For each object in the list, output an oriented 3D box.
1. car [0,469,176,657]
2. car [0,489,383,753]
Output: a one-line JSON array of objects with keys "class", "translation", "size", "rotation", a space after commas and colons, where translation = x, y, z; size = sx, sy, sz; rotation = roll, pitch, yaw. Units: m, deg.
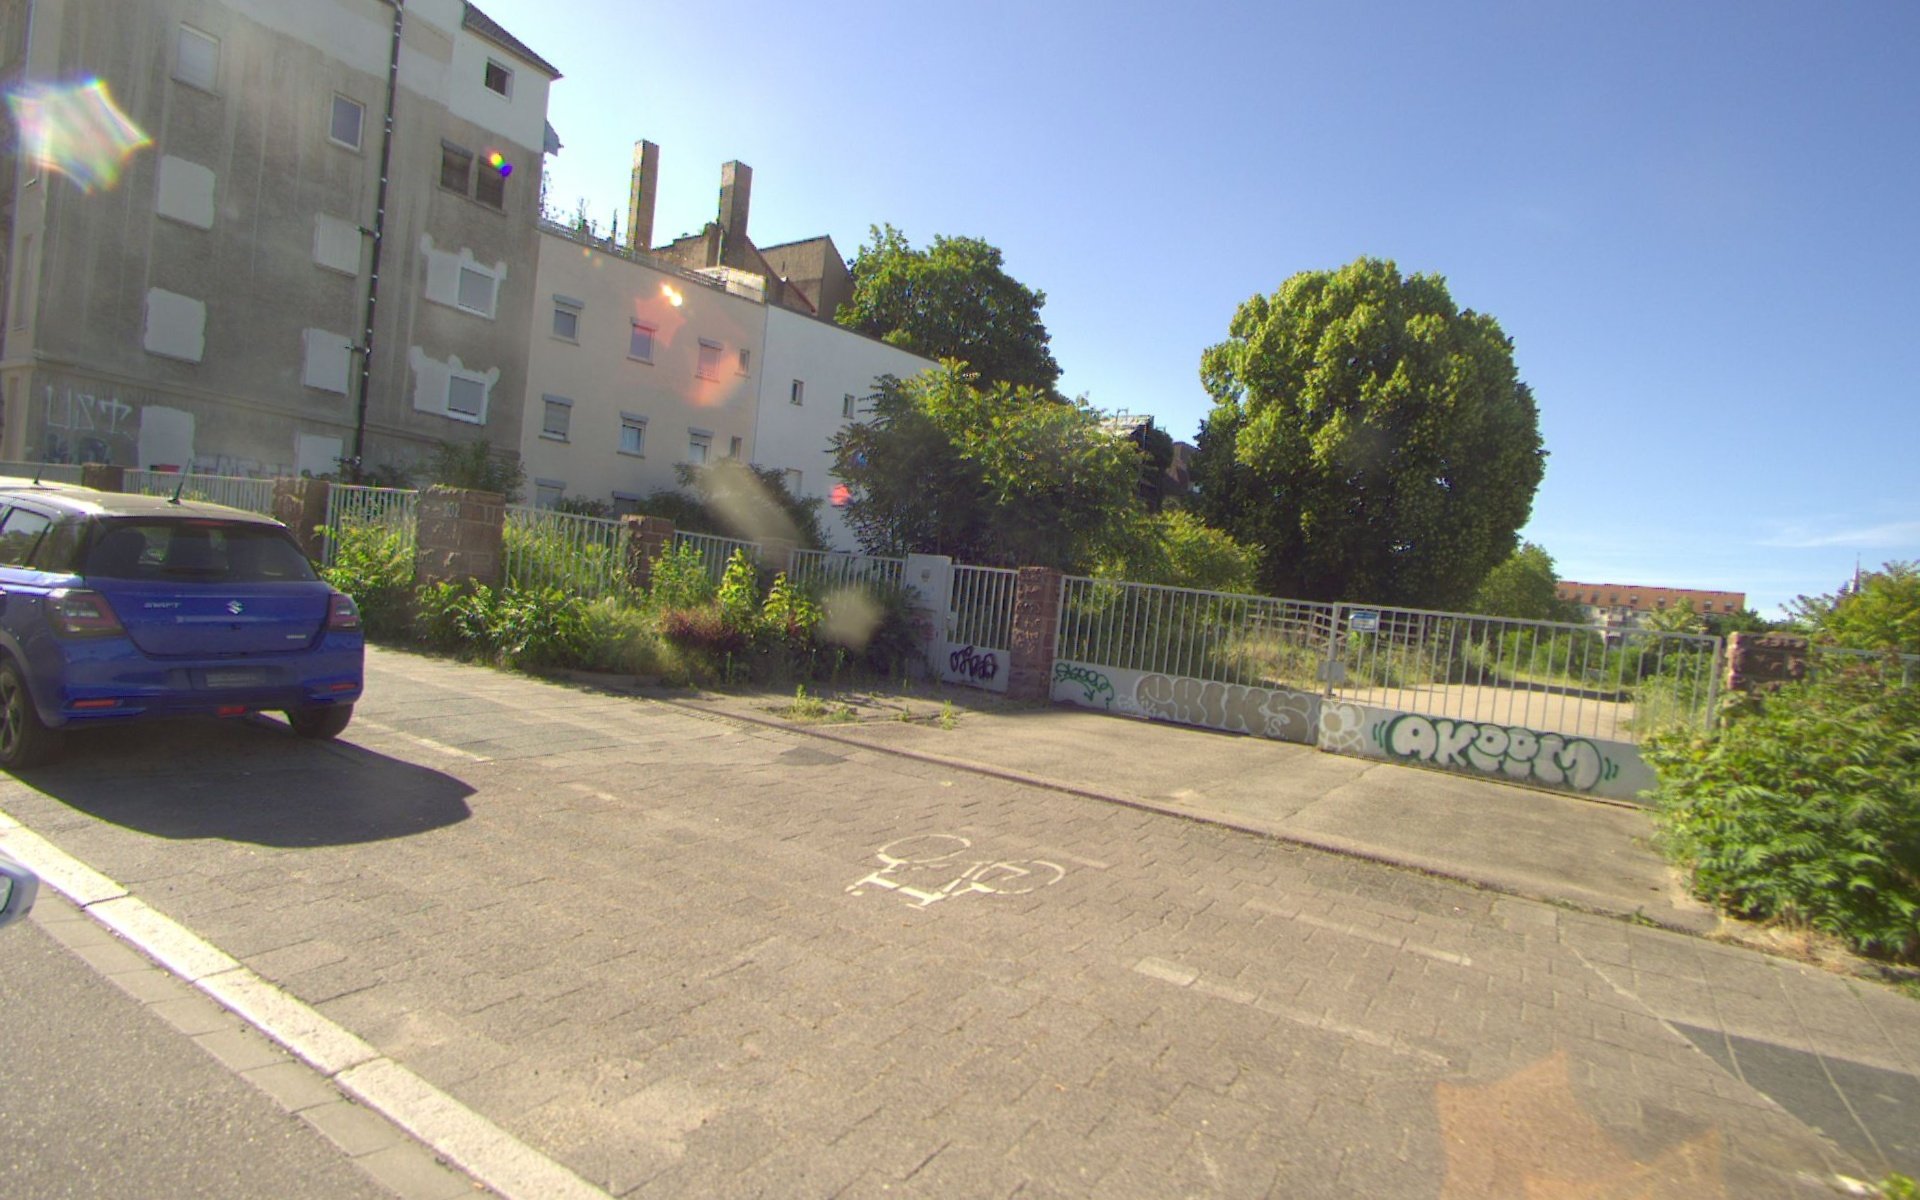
[{"class": "car", "translation": [-9.316, -0.487, 9.438], "size": [3.917, 1.480, 1.668], "rotation": [7, 4, 28]}, {"class": "car", "translation": [-5.779, -0.037, 6.696], "size": [3.835, 1.199, 1.667], "rotation": [7, 4, 30]}]
